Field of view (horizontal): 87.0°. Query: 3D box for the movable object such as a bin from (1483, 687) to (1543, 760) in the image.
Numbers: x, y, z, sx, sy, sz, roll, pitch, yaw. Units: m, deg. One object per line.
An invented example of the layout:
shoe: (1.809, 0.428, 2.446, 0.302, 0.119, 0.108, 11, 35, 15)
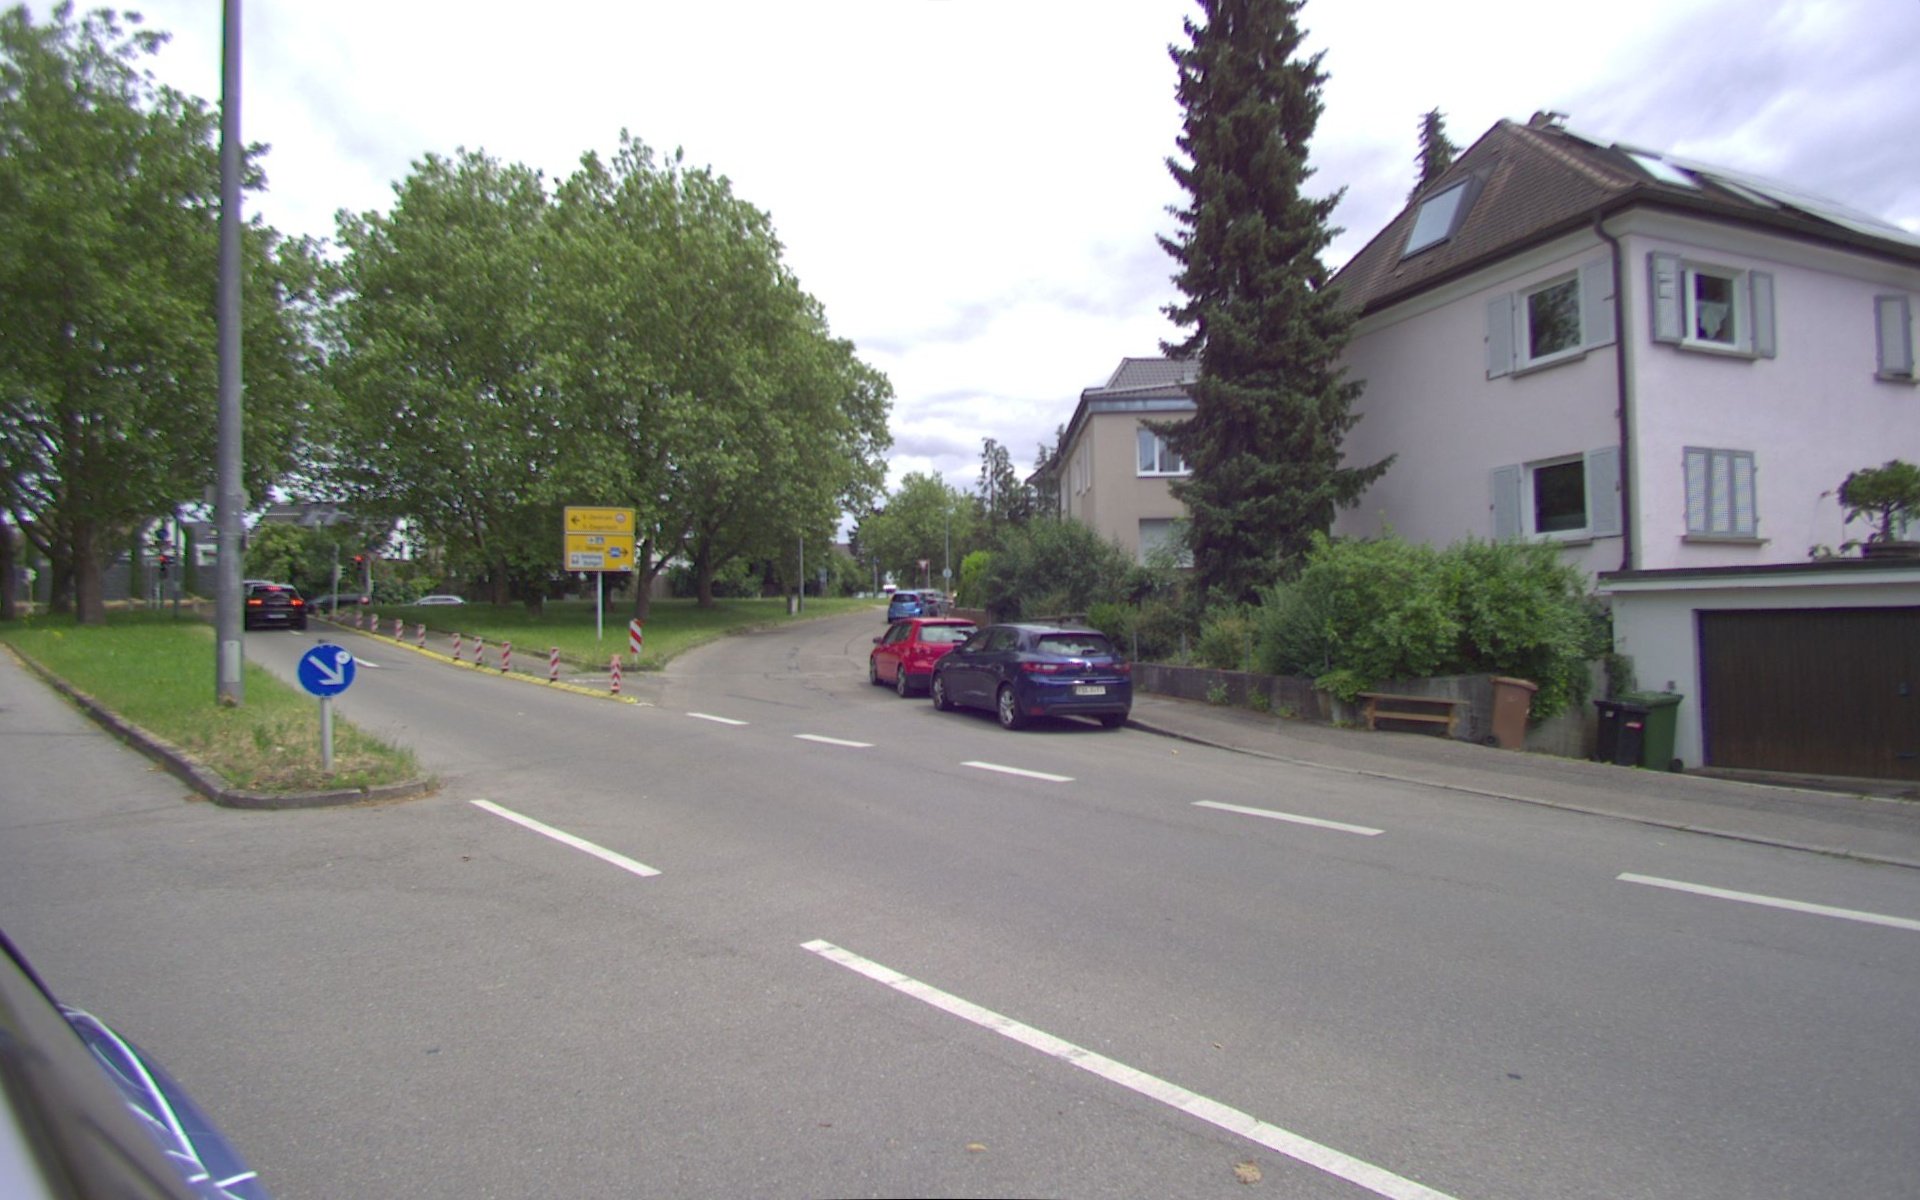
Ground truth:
movable object such as a bin: (6.786, 1.505, 12.424, 0.588, 0.842, 0.313, -2, -2, 41)

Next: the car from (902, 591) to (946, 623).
car: (-1.911, 0.331, 54.982, 1.643, 1.525, 3.986, -3, 1, 9)

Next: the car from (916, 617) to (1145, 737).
car: (0.870, 1.023, 15.236, 1.702, 1.485, 4.329, 0, -1, -22)

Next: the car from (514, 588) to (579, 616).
car: (-25.748, 0.146, 63.191, 3.584, 1.535, 1.655, 2, -4, -18)

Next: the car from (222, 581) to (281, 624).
car: (-31.514, 0.135, 44.963, 1.828, 1.671, 4.916, -1, -2, -38)

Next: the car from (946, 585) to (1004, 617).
car: (1.025, 0.018, 65.444, 2.200, 1.804, 4.852, -2, 1, 20)

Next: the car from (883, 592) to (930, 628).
car: (-2.615, 0.445, 50.243, 1.761, 1.566, 3.772, -3, 1, 6)

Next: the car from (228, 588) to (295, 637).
car: (-25.680, 0.406, 37.162, 1.734, 1.603, 4.623, 0, 2, -38)

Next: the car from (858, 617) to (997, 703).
car: (-0.782, 1.103, 20.243, 1.703, 1.485, 4.291, 0, -1, -17)

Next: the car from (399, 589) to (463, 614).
car: (-35.567, 0.109, 68.113, 3.584, 1.541, 1.655, 0, -3, -18)

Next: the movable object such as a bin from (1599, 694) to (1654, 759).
movable object such as a bin: (8.634, 1.630, 13.111, 0.545, 0.777, 0.313, -2, -2, 41)
